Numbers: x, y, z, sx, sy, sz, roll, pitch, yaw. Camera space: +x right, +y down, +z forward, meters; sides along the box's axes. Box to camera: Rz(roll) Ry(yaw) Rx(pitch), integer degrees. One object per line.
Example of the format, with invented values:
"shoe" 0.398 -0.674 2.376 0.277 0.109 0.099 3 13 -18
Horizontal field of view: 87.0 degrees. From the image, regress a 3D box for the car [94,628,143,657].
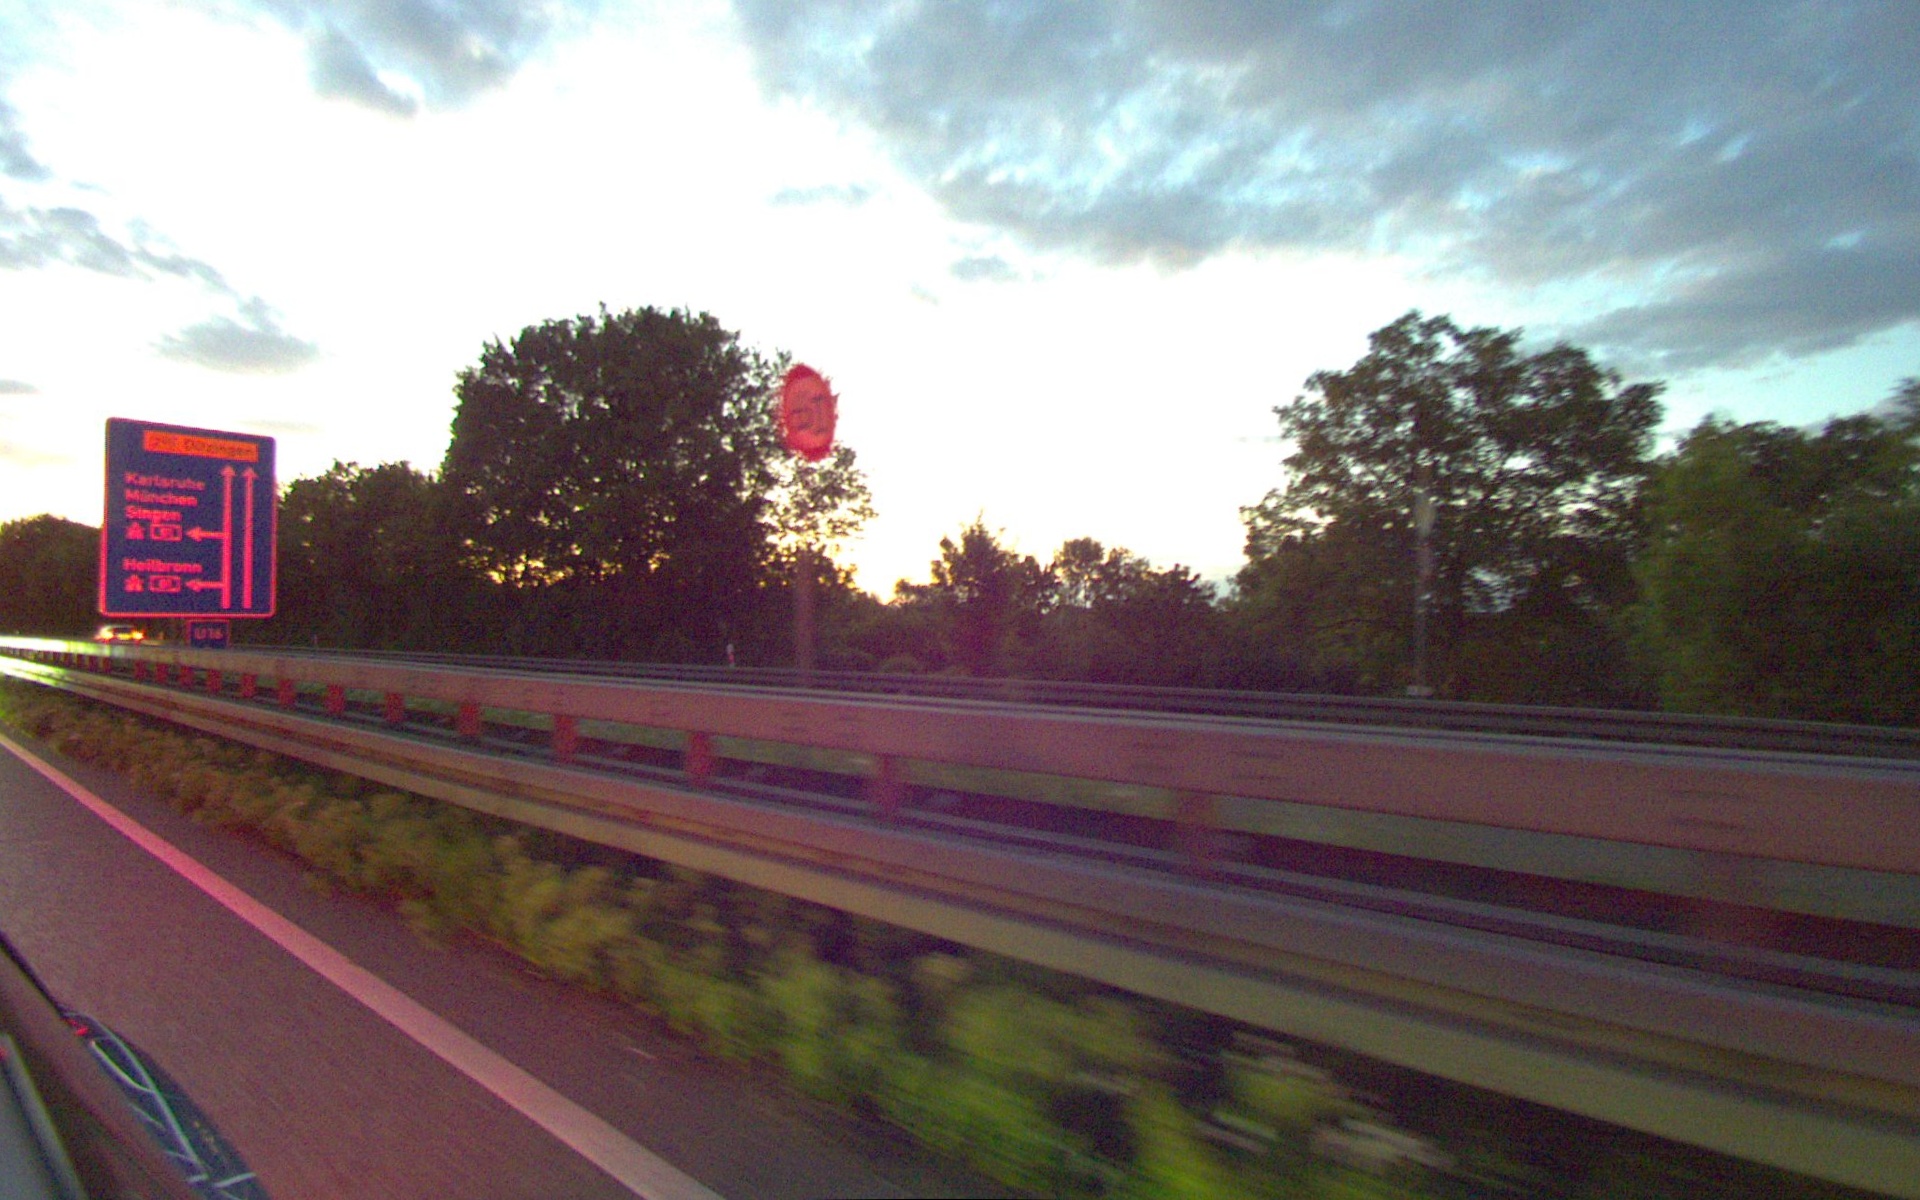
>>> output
"car" -50.427 2.511 60.618 4.503 1.684 1.774 -1 -1 44
